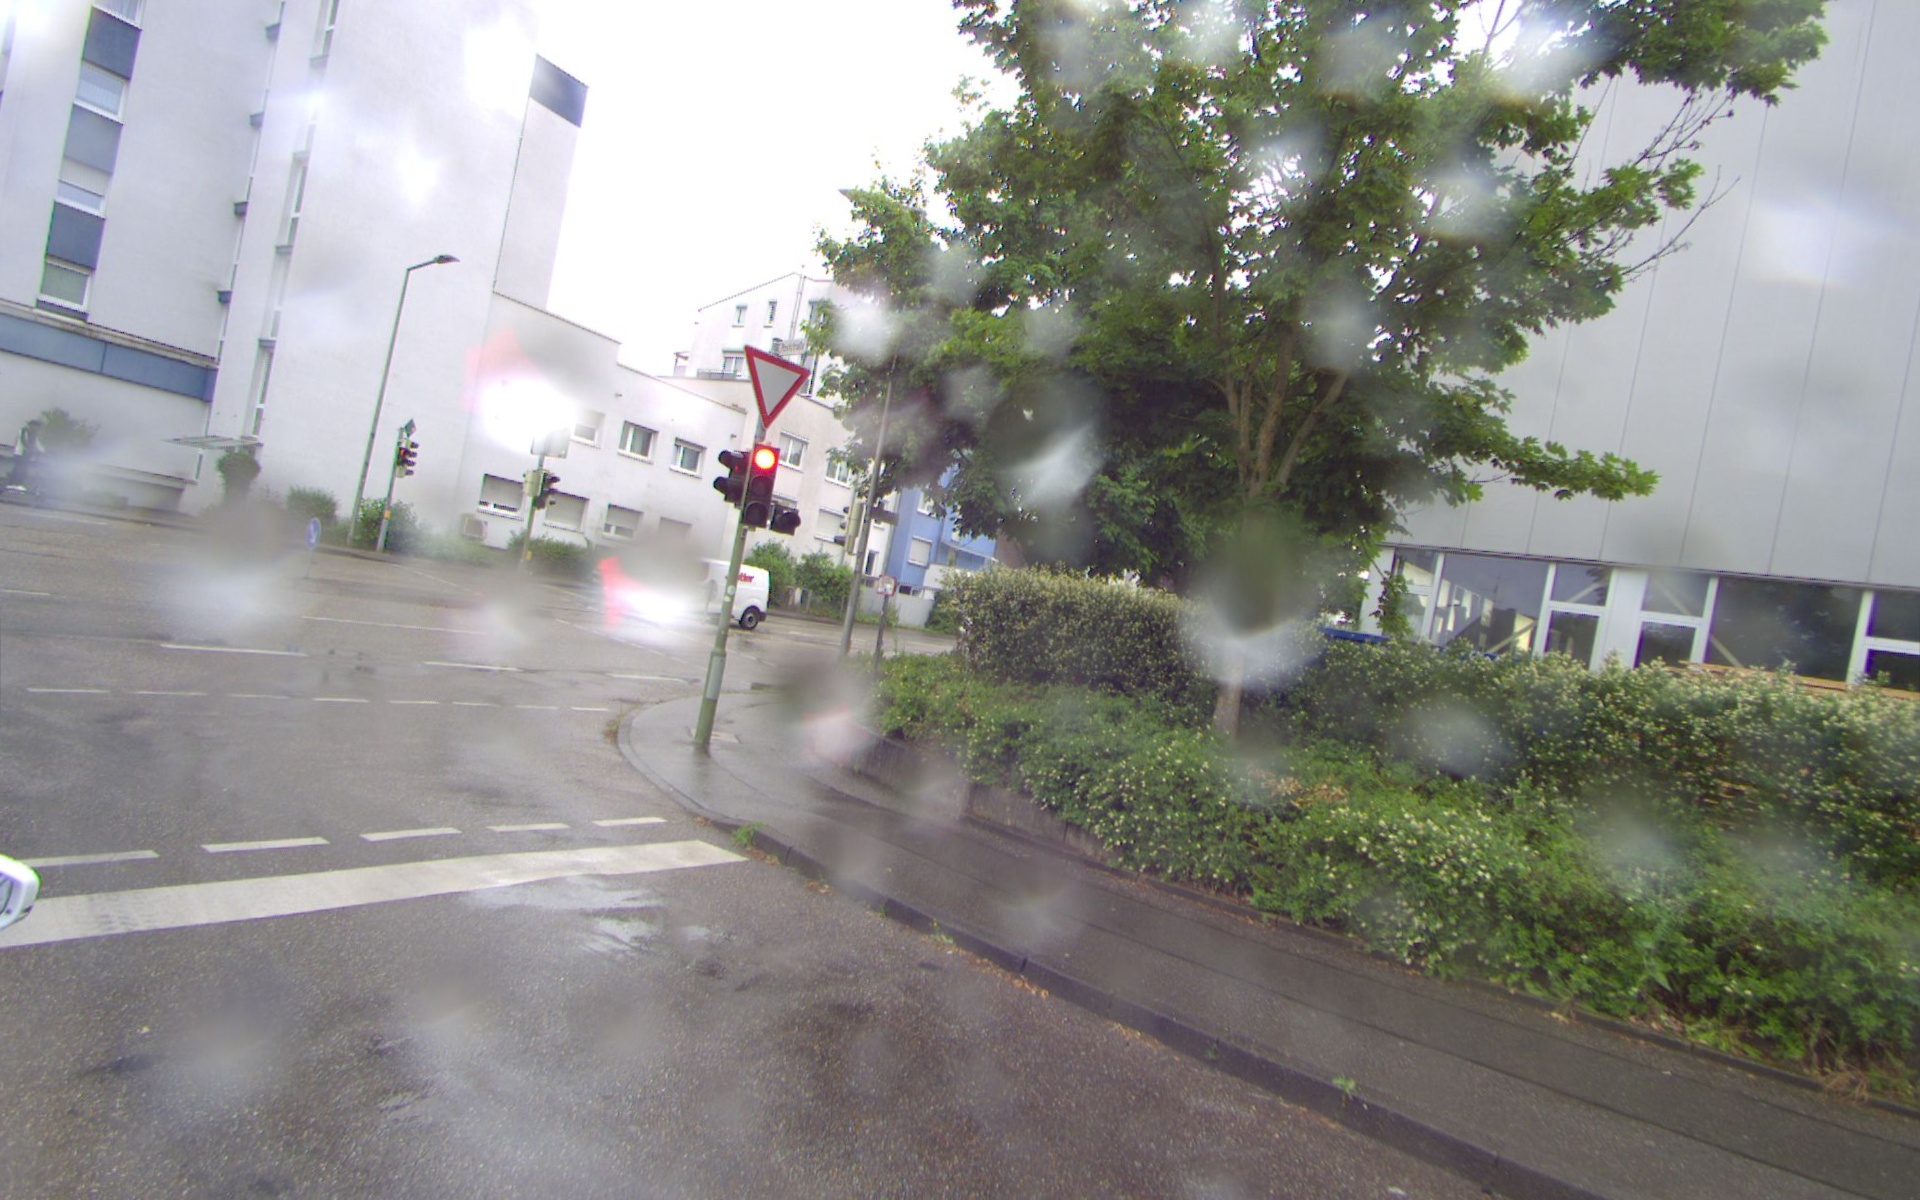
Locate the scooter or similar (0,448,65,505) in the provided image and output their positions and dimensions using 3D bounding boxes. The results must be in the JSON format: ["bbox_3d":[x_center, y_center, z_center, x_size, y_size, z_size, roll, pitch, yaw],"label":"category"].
[{"bbox_3d":[-23.400,-3.094,25.094,1.292,1.185,0.758,9,0,-8],"label":"scooter or similar"}]

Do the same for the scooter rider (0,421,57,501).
[{"bbox_3d":[-23.293,-3.449,25.082,0.662,1.817,0.753,8,1,-9],"label":"scooter rider"}]

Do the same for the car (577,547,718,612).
[{"bbox_3d":[-10.148,-0.631,32.885,1.803,1.485,3.989,9,0,36],"label":"car"}]

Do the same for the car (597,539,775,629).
[{"bbox_3d":[-8.020,-0.417,29.883,1.800,1.938,4.816,7,-2,39],"label":"car"}]
